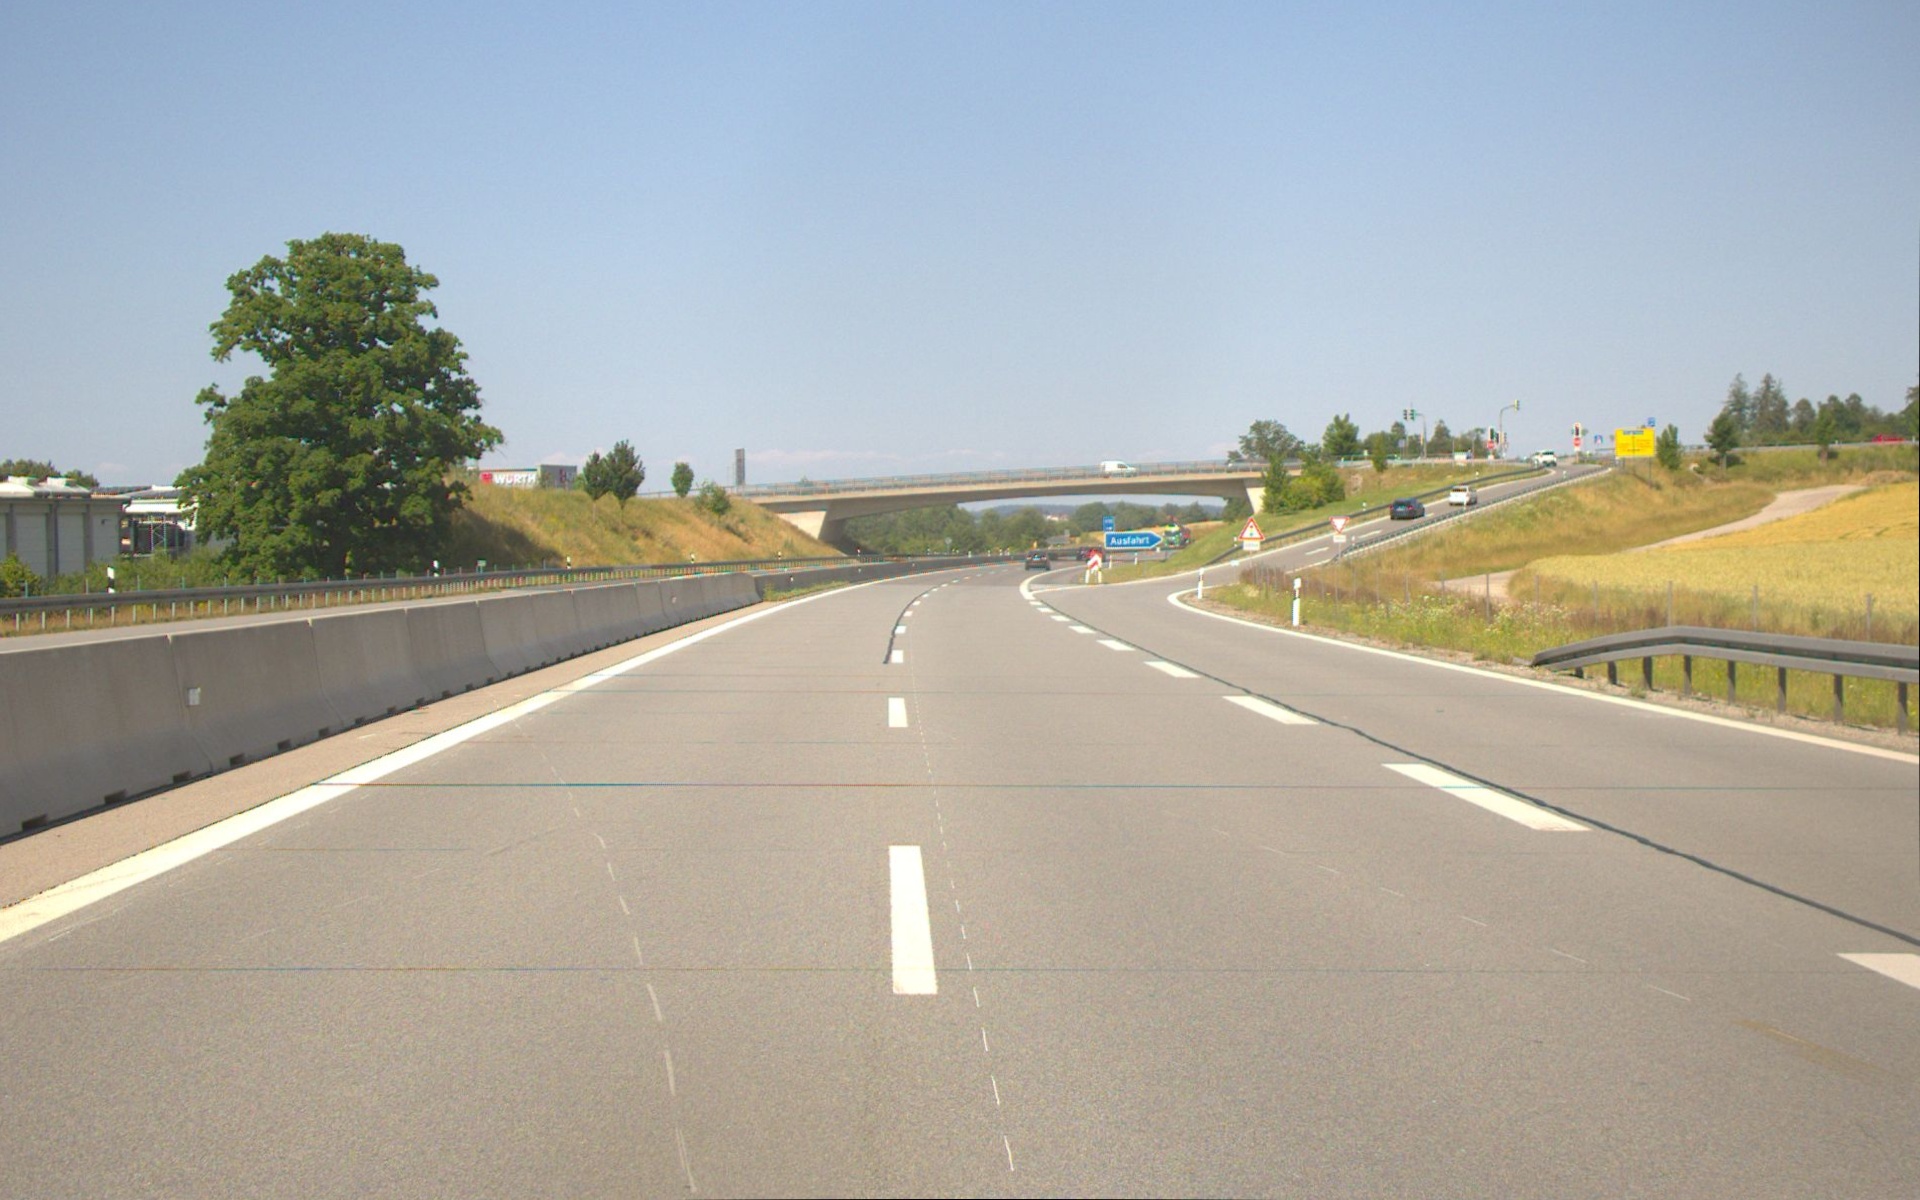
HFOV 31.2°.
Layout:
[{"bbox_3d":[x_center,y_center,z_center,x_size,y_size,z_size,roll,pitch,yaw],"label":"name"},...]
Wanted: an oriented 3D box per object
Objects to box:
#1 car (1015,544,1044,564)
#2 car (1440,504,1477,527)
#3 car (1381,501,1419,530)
[{"bbox_3d":[5.157,-3.386,254.508,1.993,1.415,4.000,-2,1,2],"label":"car"},{"bbox_3d":[36.708,-6.253,253.018,1.995,1.612,3.997,-2,1,18],"label":"car"},{"bbox_3d":[32.413,-6.223,253.051,1.995,2.007,3.997,-1,1,18],"label":"car"}]
